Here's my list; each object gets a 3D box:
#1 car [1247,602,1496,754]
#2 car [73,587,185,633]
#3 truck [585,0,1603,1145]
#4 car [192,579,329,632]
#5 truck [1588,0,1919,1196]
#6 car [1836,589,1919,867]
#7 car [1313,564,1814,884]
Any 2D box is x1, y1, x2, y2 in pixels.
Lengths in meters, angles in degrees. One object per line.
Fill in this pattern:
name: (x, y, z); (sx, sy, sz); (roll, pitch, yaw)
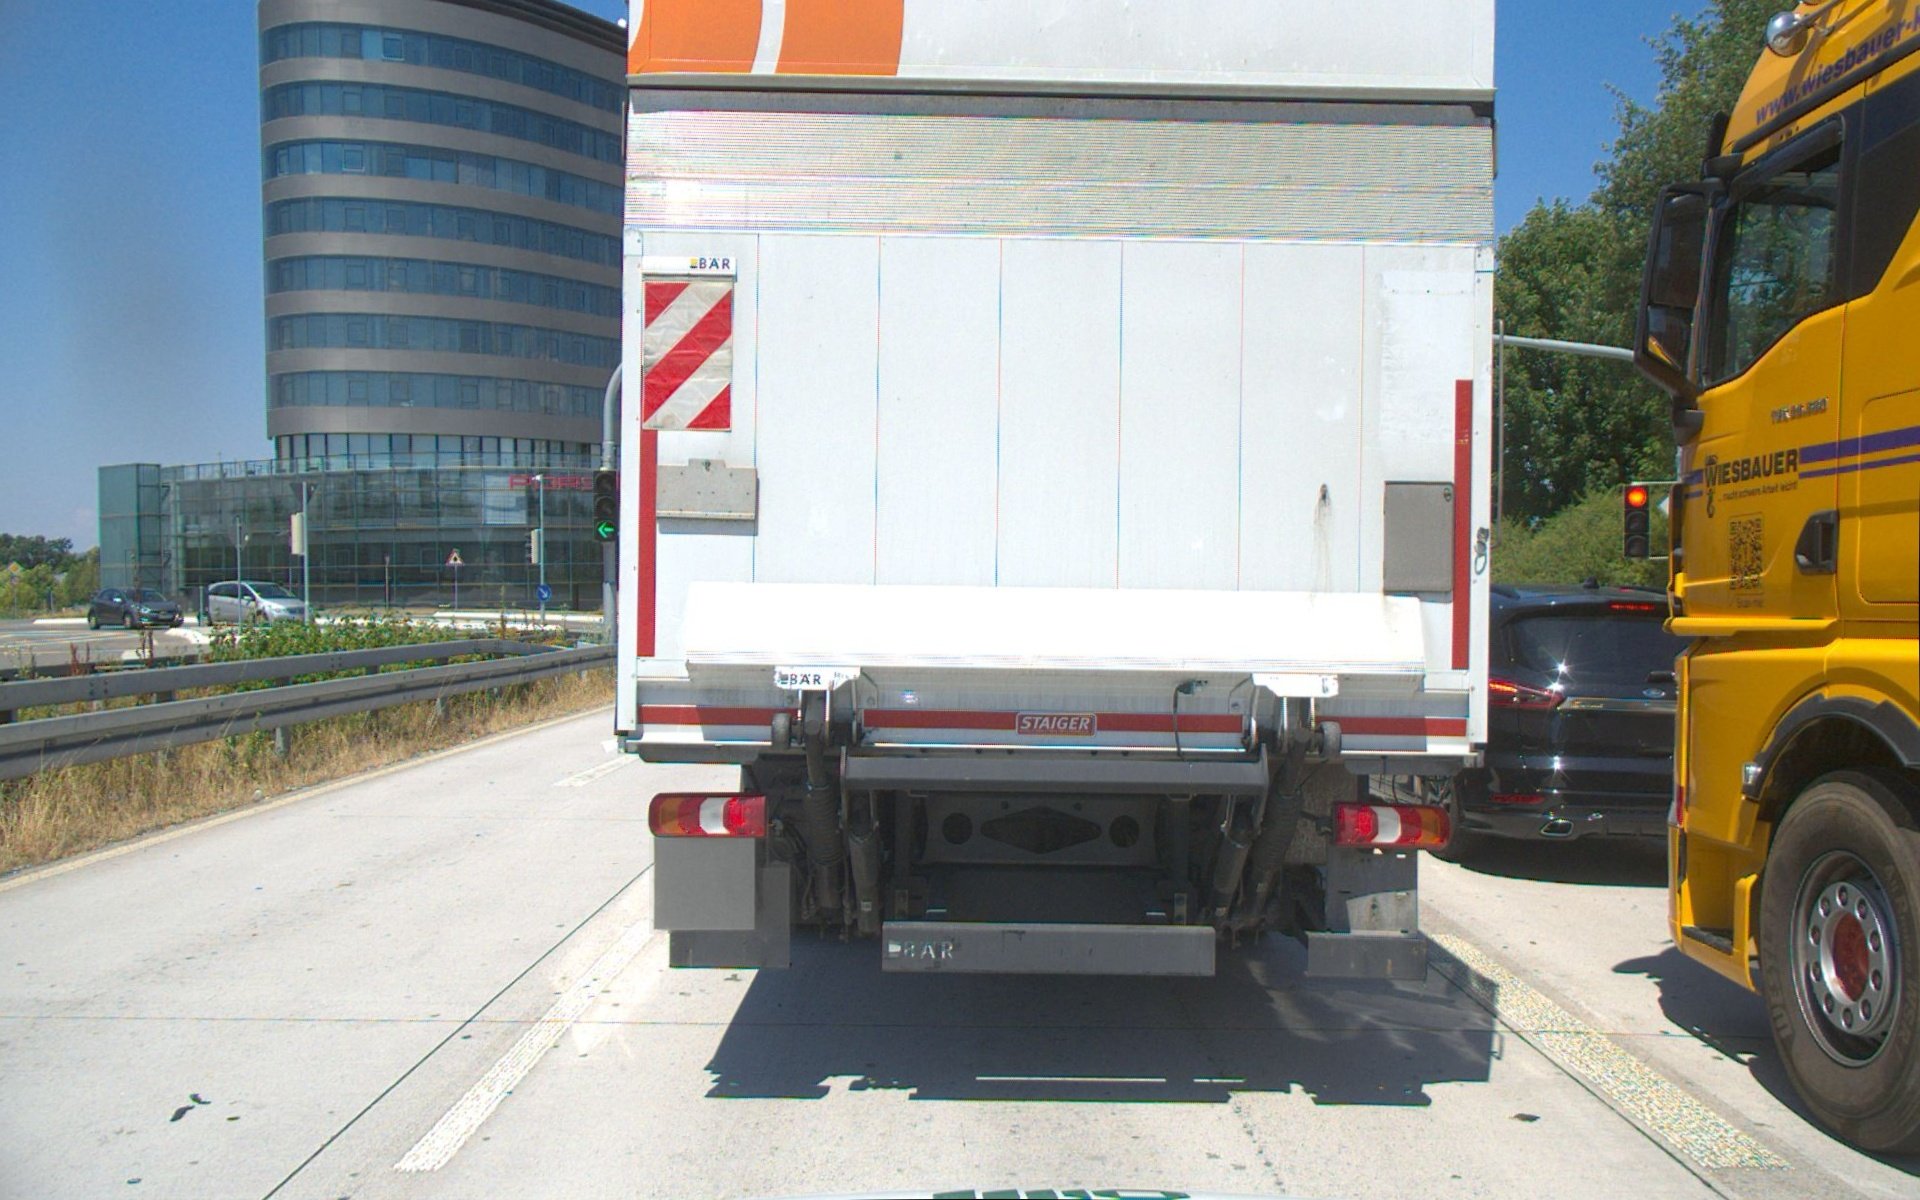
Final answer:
car: (4.378, 0.762, 18.289); (1.731, 1.435, 4.611); (1, 0, 2)
car: (-29.004, 0.363, 57.689); (4.241, 1.482, 1.691); (-2, -2, 35)
truck: (0.317, -0.487, 9.161); (2.713, 3.927, 9.368); (1, 0, -1)
car: (-22.647, 0.208, 53.557); (4.231, 1.623, 1.775); (-1, -2, 27)
truck: (3.952, -0.413, 2.446); (2.953, 3.838, 7.466); (1, 0, -2)
car: (7.333, 0.857, 9.564); (1.733, 1.839, 4.788); (1, 0, -4)
car: (3.700, 0.666, 11.109); (1.747, 1.668, 4.648); (1, 0, 1)
